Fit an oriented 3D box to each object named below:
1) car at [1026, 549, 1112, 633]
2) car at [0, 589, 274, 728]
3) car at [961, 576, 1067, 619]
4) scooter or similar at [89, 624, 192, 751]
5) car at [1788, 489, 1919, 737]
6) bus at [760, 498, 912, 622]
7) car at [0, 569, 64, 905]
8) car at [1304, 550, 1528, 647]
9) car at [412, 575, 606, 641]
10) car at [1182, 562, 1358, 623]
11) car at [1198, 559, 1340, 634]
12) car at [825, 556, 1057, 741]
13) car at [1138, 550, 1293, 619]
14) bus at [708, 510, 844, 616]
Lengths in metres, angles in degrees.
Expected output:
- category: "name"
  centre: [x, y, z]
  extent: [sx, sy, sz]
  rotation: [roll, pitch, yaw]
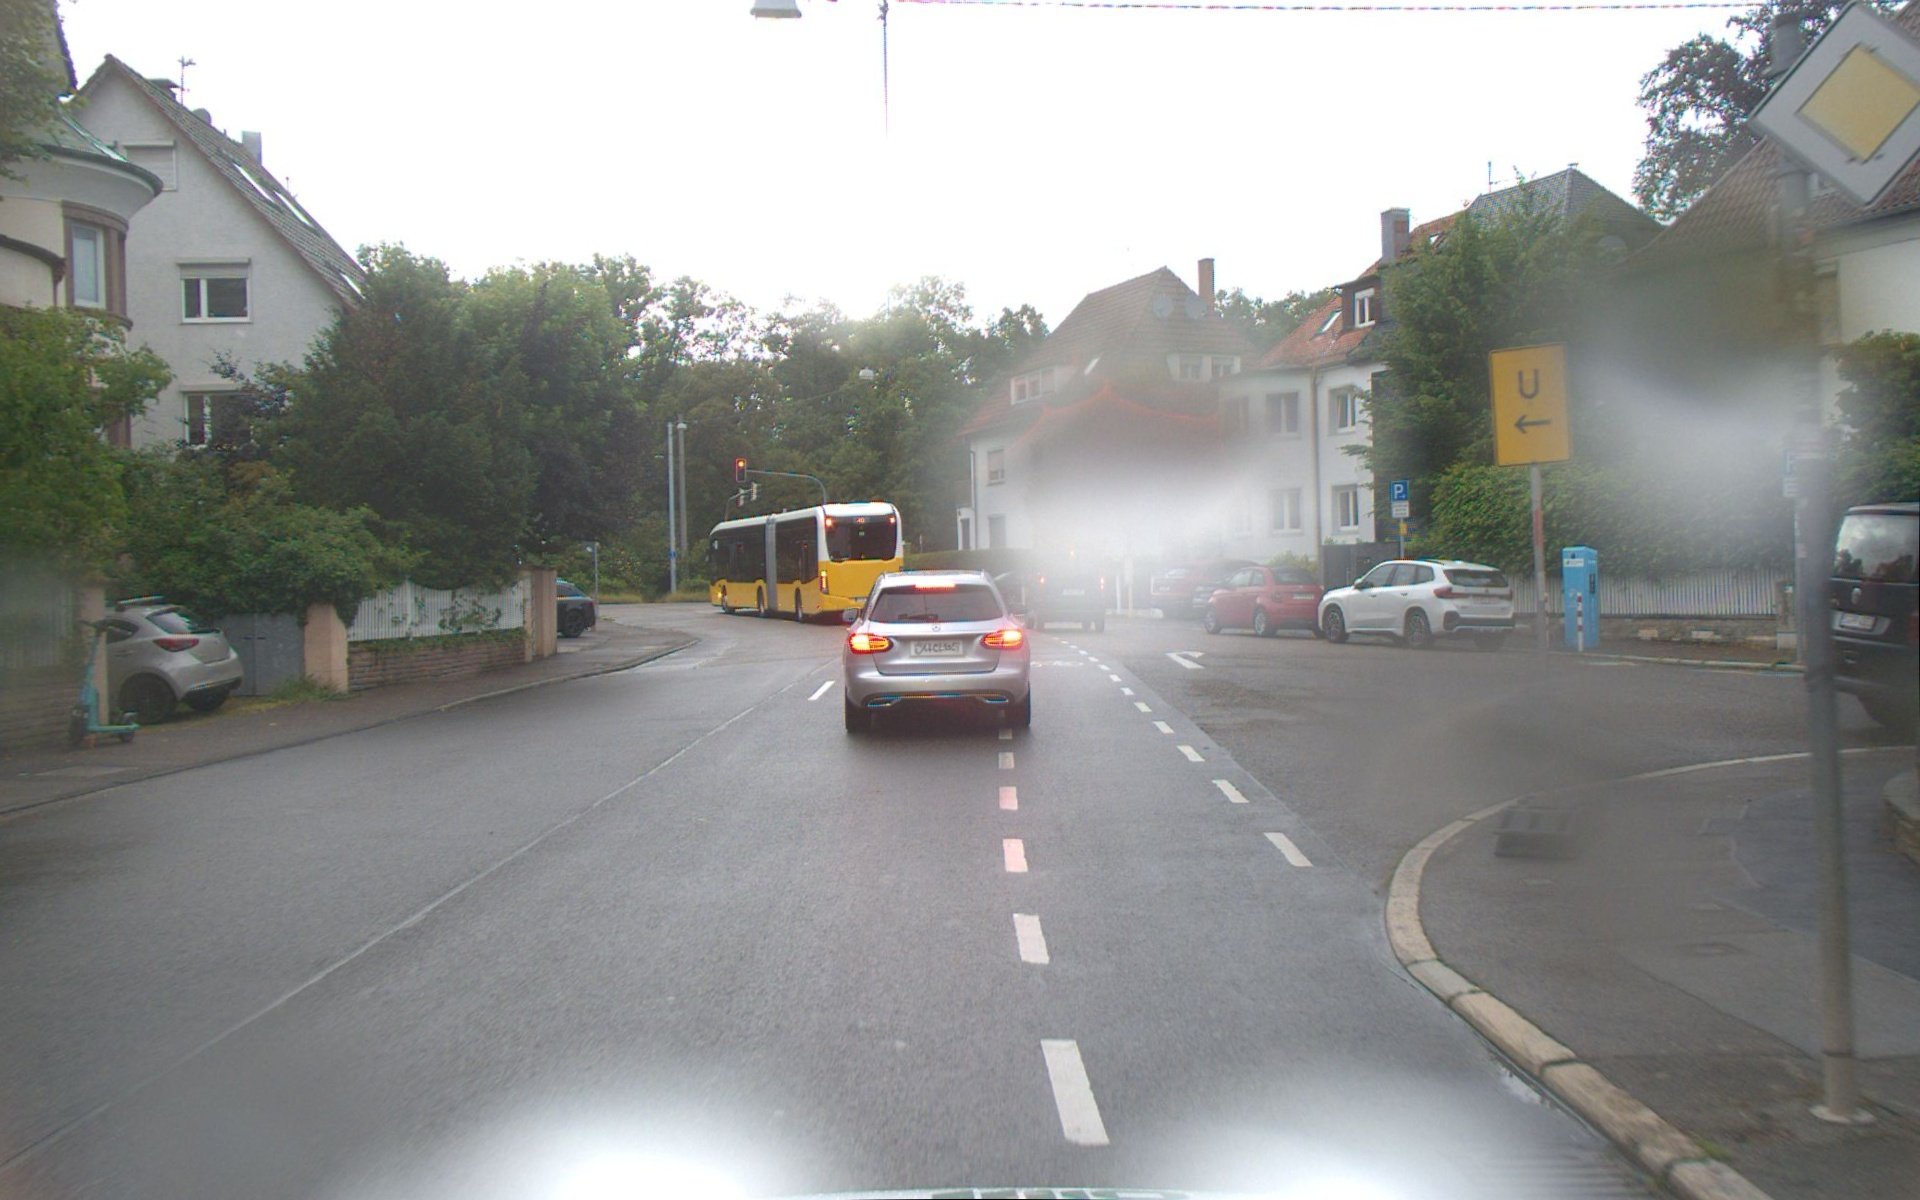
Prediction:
- category: "car"
  centre: [2.526, -0.211, 39.039]
  extent: [1.771, 1.829, 4.000]
  rotation: [-1, 0, 0]
- category: "car"
  centre: [-11.091, 0.754, 21.661]
  extent: [3.505, 1.567, 1.711]
  rotation: [-2, 3, 16]
- category: "car"
  centre: [2.032, -0.106, 62.301]
  extent: [3.692, 1.412, 1.606]
  rotation: [-2, 3, -23]
- category: "scooter or similar"
  centre: [-8.265, 0.867, 16.718]
  extent: [0.393, 1.209, 1.141]
  rotation: [0, 0, 4]
- category: "car"
  centre: [9.977, 0.035, 14.119]
  extent: [4.804, 1.982, 1.941]
  rotation: [-2, 0, 2]
- category: "bus"
  centre: [-3.984, -1.212, 50.825]
  extent: [2.635, 3.457, 8.636]
  rotation: [-2, 1, -18]
- category: "car"
  centre: [-5.407, 0.688, 6.915]
  extent: [1.563, 1.622, 3.316]
  rotation: [-2, 0, -2]
- category: "car"
  centre: [8.576, -0.066, 31.570]
  extent: [1.719, 1.701, 4.618]
  rotation: [0, 1, -21]
- category: "car"
  centre: [-11.224, 0.164, 41.459]
  extent: [1.767, 1.521, 4.668]
  rotation: [1, 1, 34]
- category: "car"
  centre: [8.530, -0.235, 45.510]
  extent: [4.494, 1.441, 1.983]
  rotation: [-3, 2, -27]
- category: "car"
  centre: [6.765, -0.100, 36.587]
  extent: [1.587, 1.564, 3.522]
  rotation: [0, 1, -19]
- category: "car"
  centre: [-0.240, 0.359, 16.447]
  extent: [1.953, 1.505, 4.485]
  rotation: [-2, 2, -2]
- category: "car"
  centre: [7.343, -0.477, 47.527]
  extent: [4.027, 1.780, 1.982]
  rotation: [-3, 2, -28]
- category: "bus"
  centre: [-6.746, -1.313, 59.251]
  extent: [2.856, 3.457, 8.990]
  rotation: [-2, 1, -19]
